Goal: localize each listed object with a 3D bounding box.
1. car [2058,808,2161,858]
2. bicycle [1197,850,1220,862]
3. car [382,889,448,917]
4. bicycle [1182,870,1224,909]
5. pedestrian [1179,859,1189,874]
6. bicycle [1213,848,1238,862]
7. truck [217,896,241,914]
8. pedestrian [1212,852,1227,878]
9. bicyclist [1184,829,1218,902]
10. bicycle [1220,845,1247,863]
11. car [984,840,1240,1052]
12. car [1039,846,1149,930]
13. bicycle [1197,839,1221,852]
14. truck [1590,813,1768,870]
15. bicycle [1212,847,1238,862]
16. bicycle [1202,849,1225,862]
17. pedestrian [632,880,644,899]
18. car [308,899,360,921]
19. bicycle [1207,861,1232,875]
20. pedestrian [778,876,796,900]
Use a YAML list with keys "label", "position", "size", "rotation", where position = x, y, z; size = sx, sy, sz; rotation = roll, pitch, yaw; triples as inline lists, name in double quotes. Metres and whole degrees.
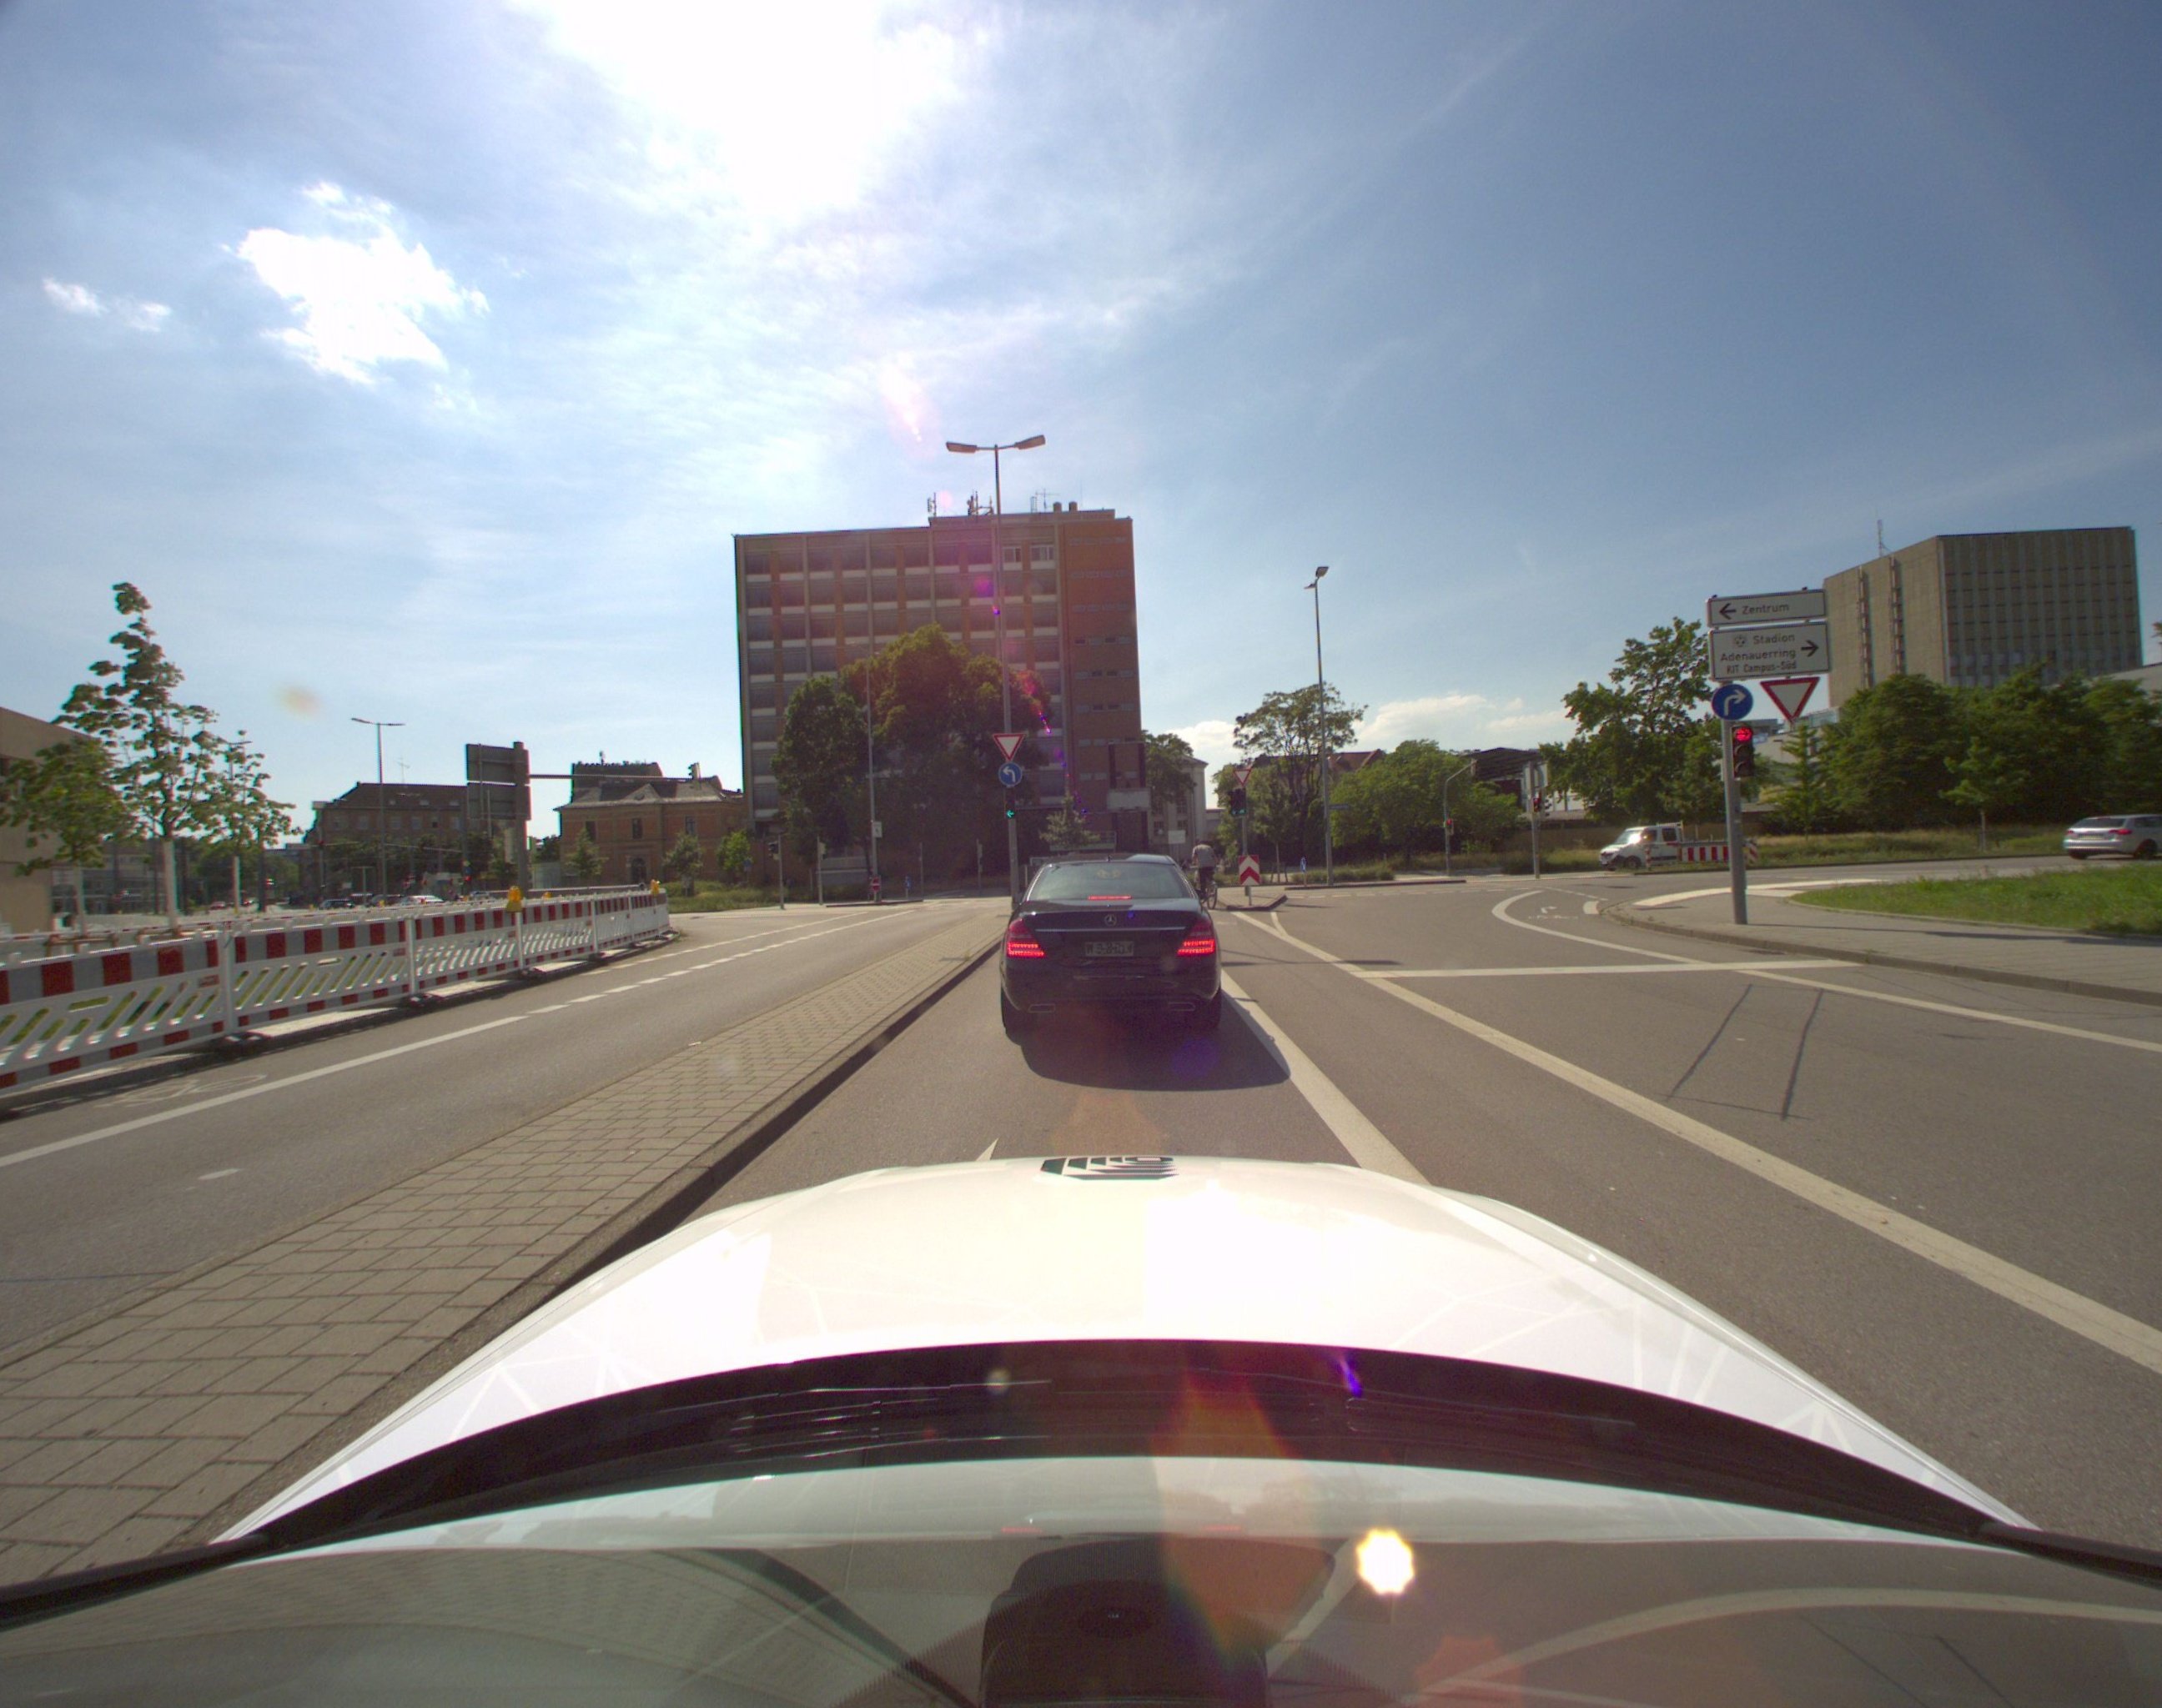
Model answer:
- label: "car"
  position: [34.074, -0.711, 26.065]
  size: [4.155, 1.420, 1.580]
  rotation: [-3, 0, -7]
- label: "bicycle"
  position: [16.633, 0.248, 106.165]
  size: [2.812, 1.480, 0.842]
  rotation: [-3, 0, 2]
- label: "car"
  position: [-47.894, 3.532, 58.569]
  size: [3.951, 1.816, 2.011]
  rotation: [-3, -1, 24]
- label: "bicycle"
  position: [3.198, 0.911, 21.574]
  size: [0.691, 0.946, 1.955]
  rotation: [0, -1, -4]
- label: "pedestrian"
  position: [8.061, 0.964, 63.596]
  size: [0.788, 1.214, 0.759]
  rotation: [-1, -1, 8]
- label: "bicycle"
  position: [17.233, 0.139, 97.228]
  size: [2.813, 1.587, 0.842]
  rotation: [-3, 0, 1]
- label: "truck"
  position: [-180.179, 10.785, 172.251]
  size: [7.827, 3.730, 3.093]
  rotation: [-4, -1, 41]
- label: "pedestrian"
  position: [8.892, 0.704, 52.281]
  size: [0.807, 1.579, 0.693]
  rotation: [-3, -1, 3]
- label: "bicyclist"
  position: [3.173, 0.301, 21.569]
  size: [0.684, 1.878, 0.858]
  rotation: [-1, -1, -5]
- label: "bicycle"
  position: [17.103, 0.043, 91.299]
  size: [2.813, 1.836, 0.842]
  rotation: [-3, 0, 1]
- label: "car"
  position: [0.306, 0.691, 8.322]
  size: [1.851, 1.530, 4.715]
  rotation: [-1, -1, 2]
- label: "car"
  position: [0.303, 0.636, 16.780]
  size: [1.986, 1.508, 4.001]
  rotation: [0, -1, 2]
- label: "bicycle"
  position: [16.142, -1.083, 102.419]
  size: [2.813, 1.559, 0.842]
  rotation: [-3, 0, 1]
- label: "truck"
  position: [29.931, -0.577, 40.979]
  size: [6.997, 2.356, 2.414]
  rotation: [-3, -2, 2]
- label: "bicycle"
  position: [16.806, 0.082, 94.944]
  size: [2.813, 1.649, 0.842]
  rotation: [-3, 0, 1]
- label: "bicycle"
  position: [16.966, 0.234, 104.332]
  size: [2.813, 1.500, 0.842]
  rotation: [-3, 0, 1]
- label: "pedestrian"
  position: [-38.276, 3.077, 70.313]
  size: [0.642, 1.661, 0.654]
  rotation: [-1, -1, 28]
- label: "car"
  position: [-55.514, 4.160, 60.490]
  size: [3.948, 1.510, 1.811]
  rotation: [-3, -1, 32]
- label: "bicycle"
  position: [16.732, 1.728, 98.215]
  size: [2.813, 1.537, 0.842]
  rotation: [-3, 0, 1]
- label: "pedestrian"
  position: [-21.652, 2.487, 60.022]
  size: [0.790, 1.725, 0.878]
  rotation: [-3, -1, 24]
